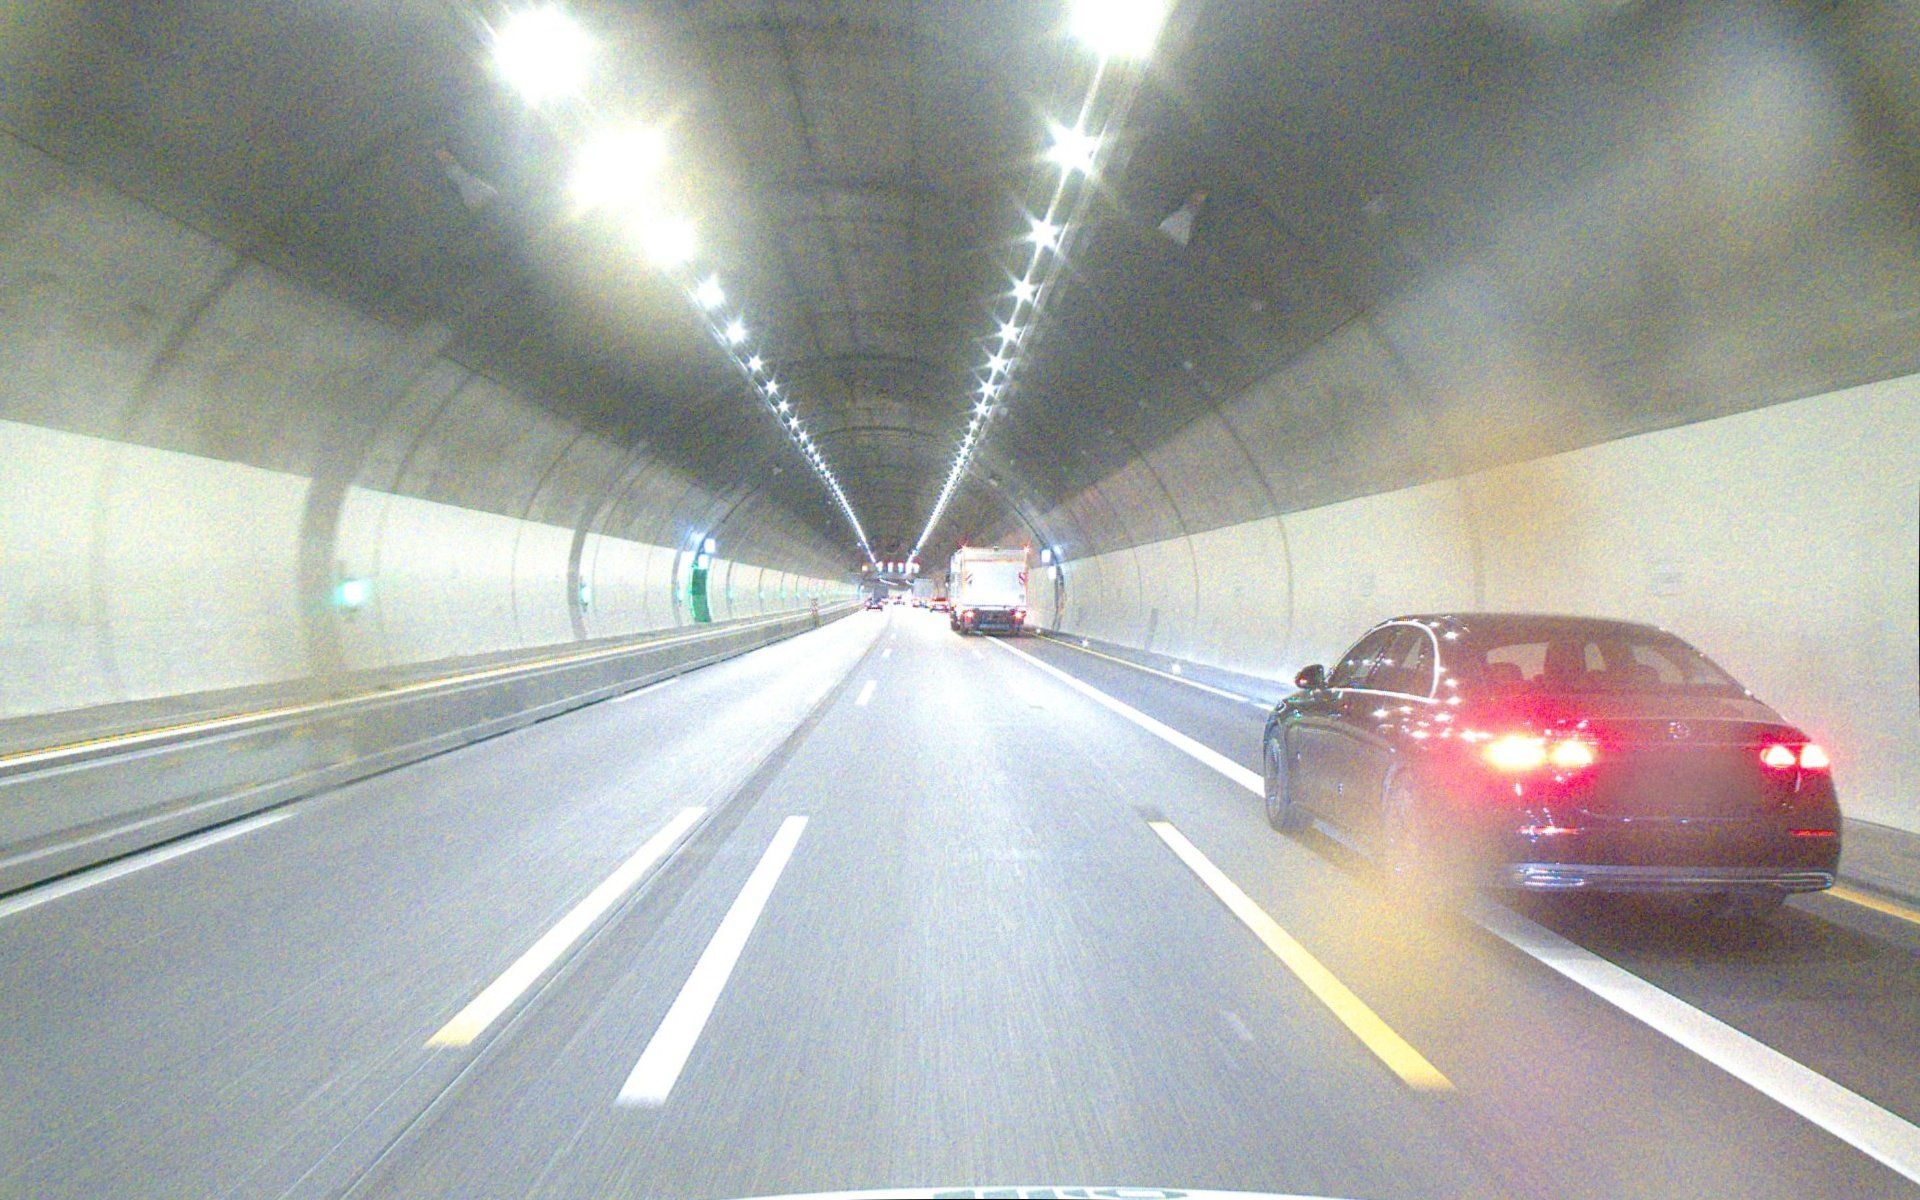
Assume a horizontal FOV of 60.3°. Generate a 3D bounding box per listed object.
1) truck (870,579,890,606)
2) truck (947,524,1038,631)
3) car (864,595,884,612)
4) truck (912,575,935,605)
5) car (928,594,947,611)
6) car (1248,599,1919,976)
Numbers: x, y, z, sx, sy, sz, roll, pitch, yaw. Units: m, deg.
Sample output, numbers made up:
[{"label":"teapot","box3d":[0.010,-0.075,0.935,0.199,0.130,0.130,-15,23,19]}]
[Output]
[{"label":"truck","box3d":[-12.851,-1.161,265.343,3.005,3.986,10.362,3,-1,-2]},{"label":"truck","box3d":[1.209,-0.790,68.773,3.030,3.986,10.363,3,-1,-2]},{"label":"car","box3d":[-8.147,0.278,156.390,1.723,1.486,4.117,2,1,-2]},{"label":"truck","box3d":[-5.181,-1.359,237.368,3.004,3.986,10.365,3,-1,-1]},{"label":"car","box3d":[-2.153,0.252,156.575,1.704,1.486,3.960,2,1,-1]},{"label":"car","box3d":[3.060,0.794,9.375,1.886,1.498,4.953,2,0,-1]}]
